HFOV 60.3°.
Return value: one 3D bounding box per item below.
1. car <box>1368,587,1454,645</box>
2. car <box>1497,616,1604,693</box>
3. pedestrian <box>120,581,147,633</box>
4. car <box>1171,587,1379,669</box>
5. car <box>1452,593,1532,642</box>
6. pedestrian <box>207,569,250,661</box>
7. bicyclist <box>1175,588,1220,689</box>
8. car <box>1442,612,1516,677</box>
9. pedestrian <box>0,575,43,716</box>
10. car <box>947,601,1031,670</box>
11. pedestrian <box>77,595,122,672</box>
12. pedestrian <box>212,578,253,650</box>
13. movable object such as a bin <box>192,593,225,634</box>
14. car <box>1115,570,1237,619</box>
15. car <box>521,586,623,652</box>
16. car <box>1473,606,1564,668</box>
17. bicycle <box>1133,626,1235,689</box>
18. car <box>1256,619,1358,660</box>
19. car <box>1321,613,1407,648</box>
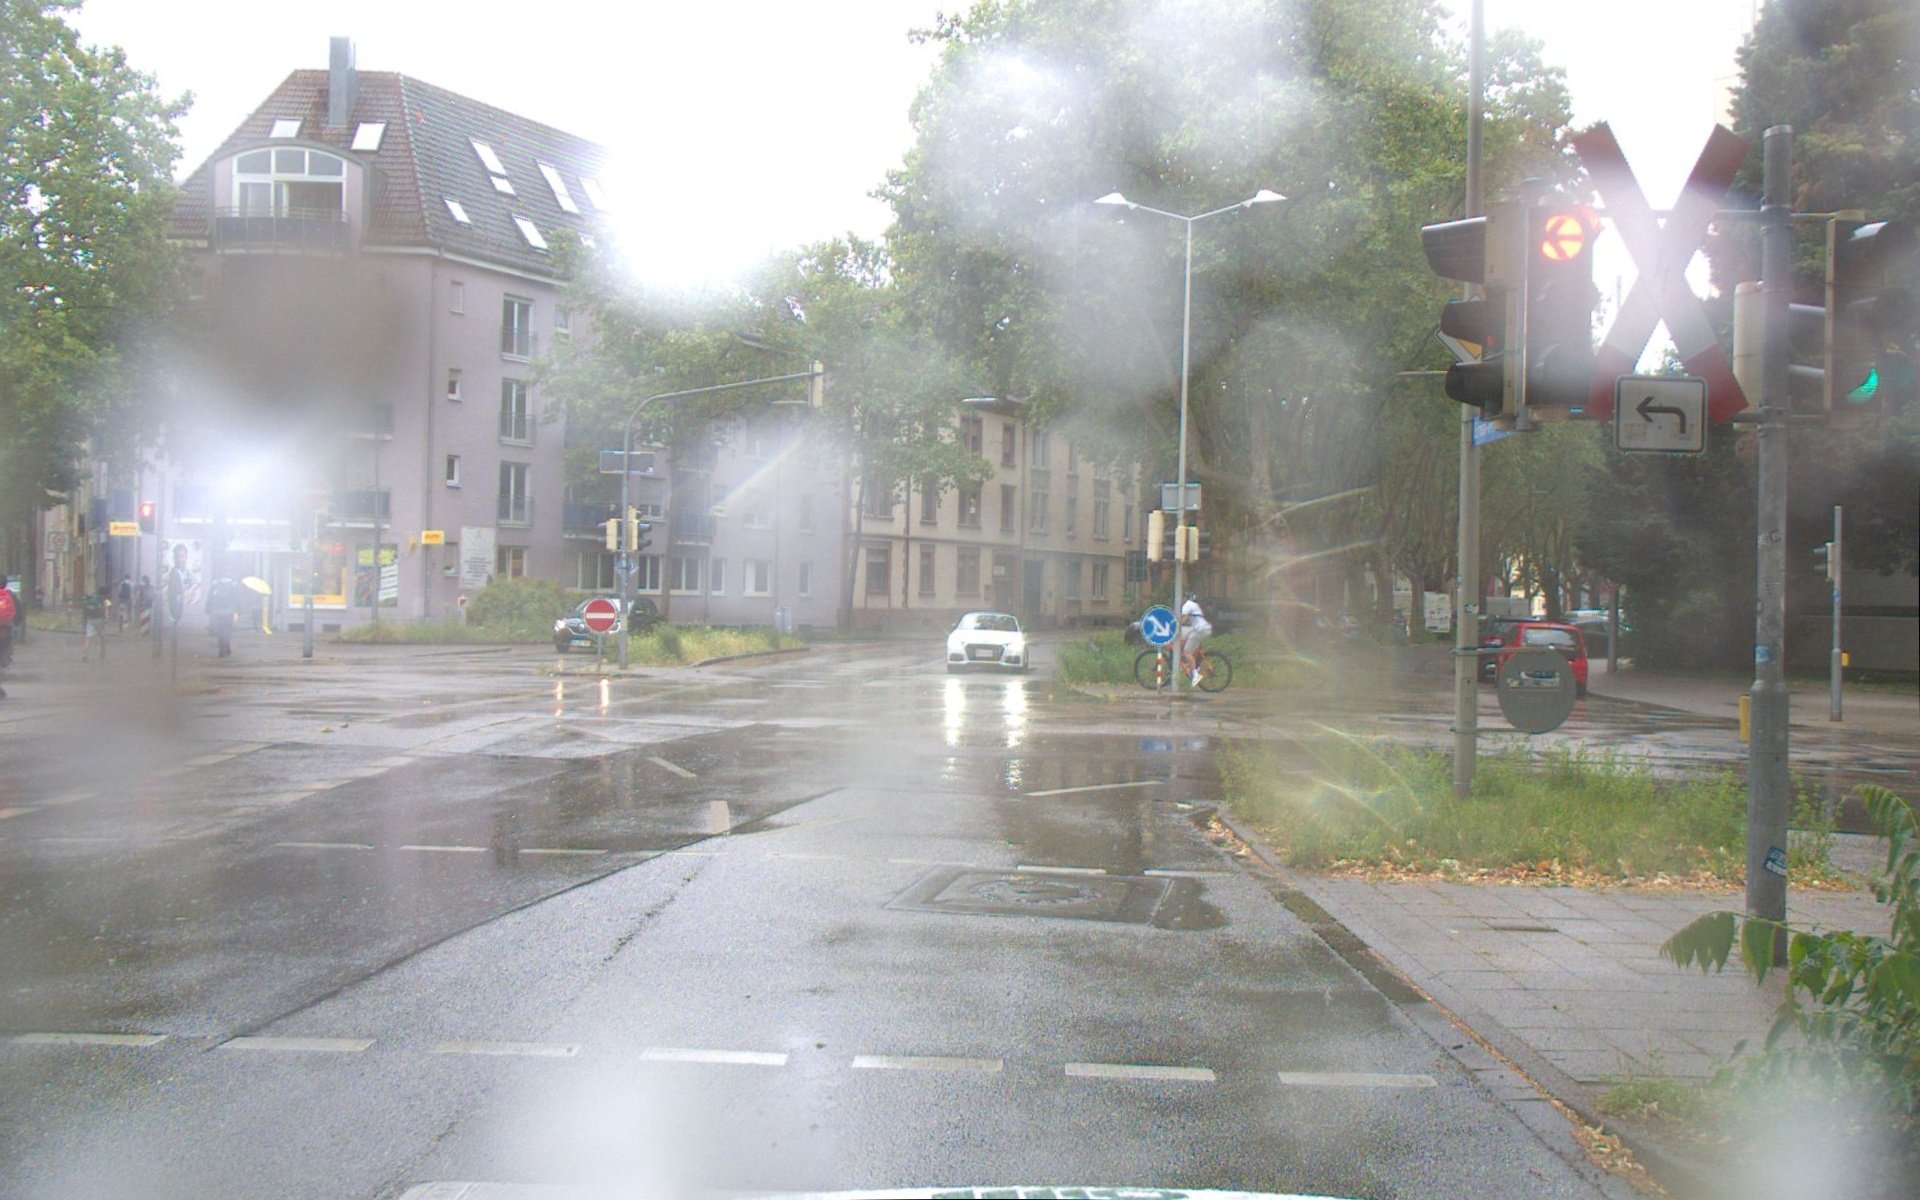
[{"bbox_3d":[23.949,0.847,88.063,2.005,2.999,4.742,1,0,-21],"label":"car"},{"bbox_3d":[13.048,1.163,36.729,1.754,1.524,4.003,1,0,13],"label":"car"},{"bbox_3d":[-26.244,0.212,52.504,0.667,1.628,0.957,1,-1,-32],"label":"pedestrian"},{"bbox_3d":[6.237,0.536,32.795,3.902,1.512,2.002,1,0,12],"label":"car"},{"bbox_3d":[33.664,1.084,104.807,1.974,2.999,4.720,1,0,-31],"label":"car"},{"bbox_3d":[-15.142,0.312,34.235,0.777,1.888,0.676,1,0,-25],"label":"pedestrian"},{"bbox_3d":[4.359,0.697,30.413,0.778,1.817,0.697,1,-1,7],"label":"bicyclist"},{"bbox_3d":[14.985,1.254,47.903,1.745,1.757,4.003,1,0,13],"label":"car"},{"bbox_3d":[-11.588,0.535,19.885,0.715,1.653,0.816,0,1,-8],"label":"pedestrian"},{"bbox_3d":[0.699,0.798,39.155,1.845,1.461,4.001,1,0,1],"label":"car"},{"bbox_3d":[-16.211,0.622,31.159,0.643,1.420,0.773,1,0,-35],"label":"pedestrian"},{"bbox_3d":[-22.338,0.418,50.821,0.891,2.188,0.885,1,-1,-8],"label":"pedestrian"},{"bbox_3d":[-23.207,0.416,51.068,0.736,1.258,0.666,1,-1,-8],"label":"movable object such as a bin"},{"bbox_3d":[7.038,-0.183,53.730,3.784,1.512,1.717,1,0,12],"label":"car"},{"bbox_3d":[-9.629,0.447,41.337,1.716,1.538,3.838,1,0,-2],"label":"car"},{"bbox_3d":[13.893,0.878,41.299,1.745,1.371,3.932,2,1,13],"label":"car"},{"bbox_3d":[4.117,1.051,30.437,1.833,1.100,0.657,1,0,7],"label":"bicycle"},{"bbox_3d":[13.770,1.562,65.642,3.902,1.512,2.002,1,0,12],"label":"car"},{"bbox_3d":[19.257,1.441,78.920,3.902,1.574,2.002,1,0,12],"label":"car"}]
